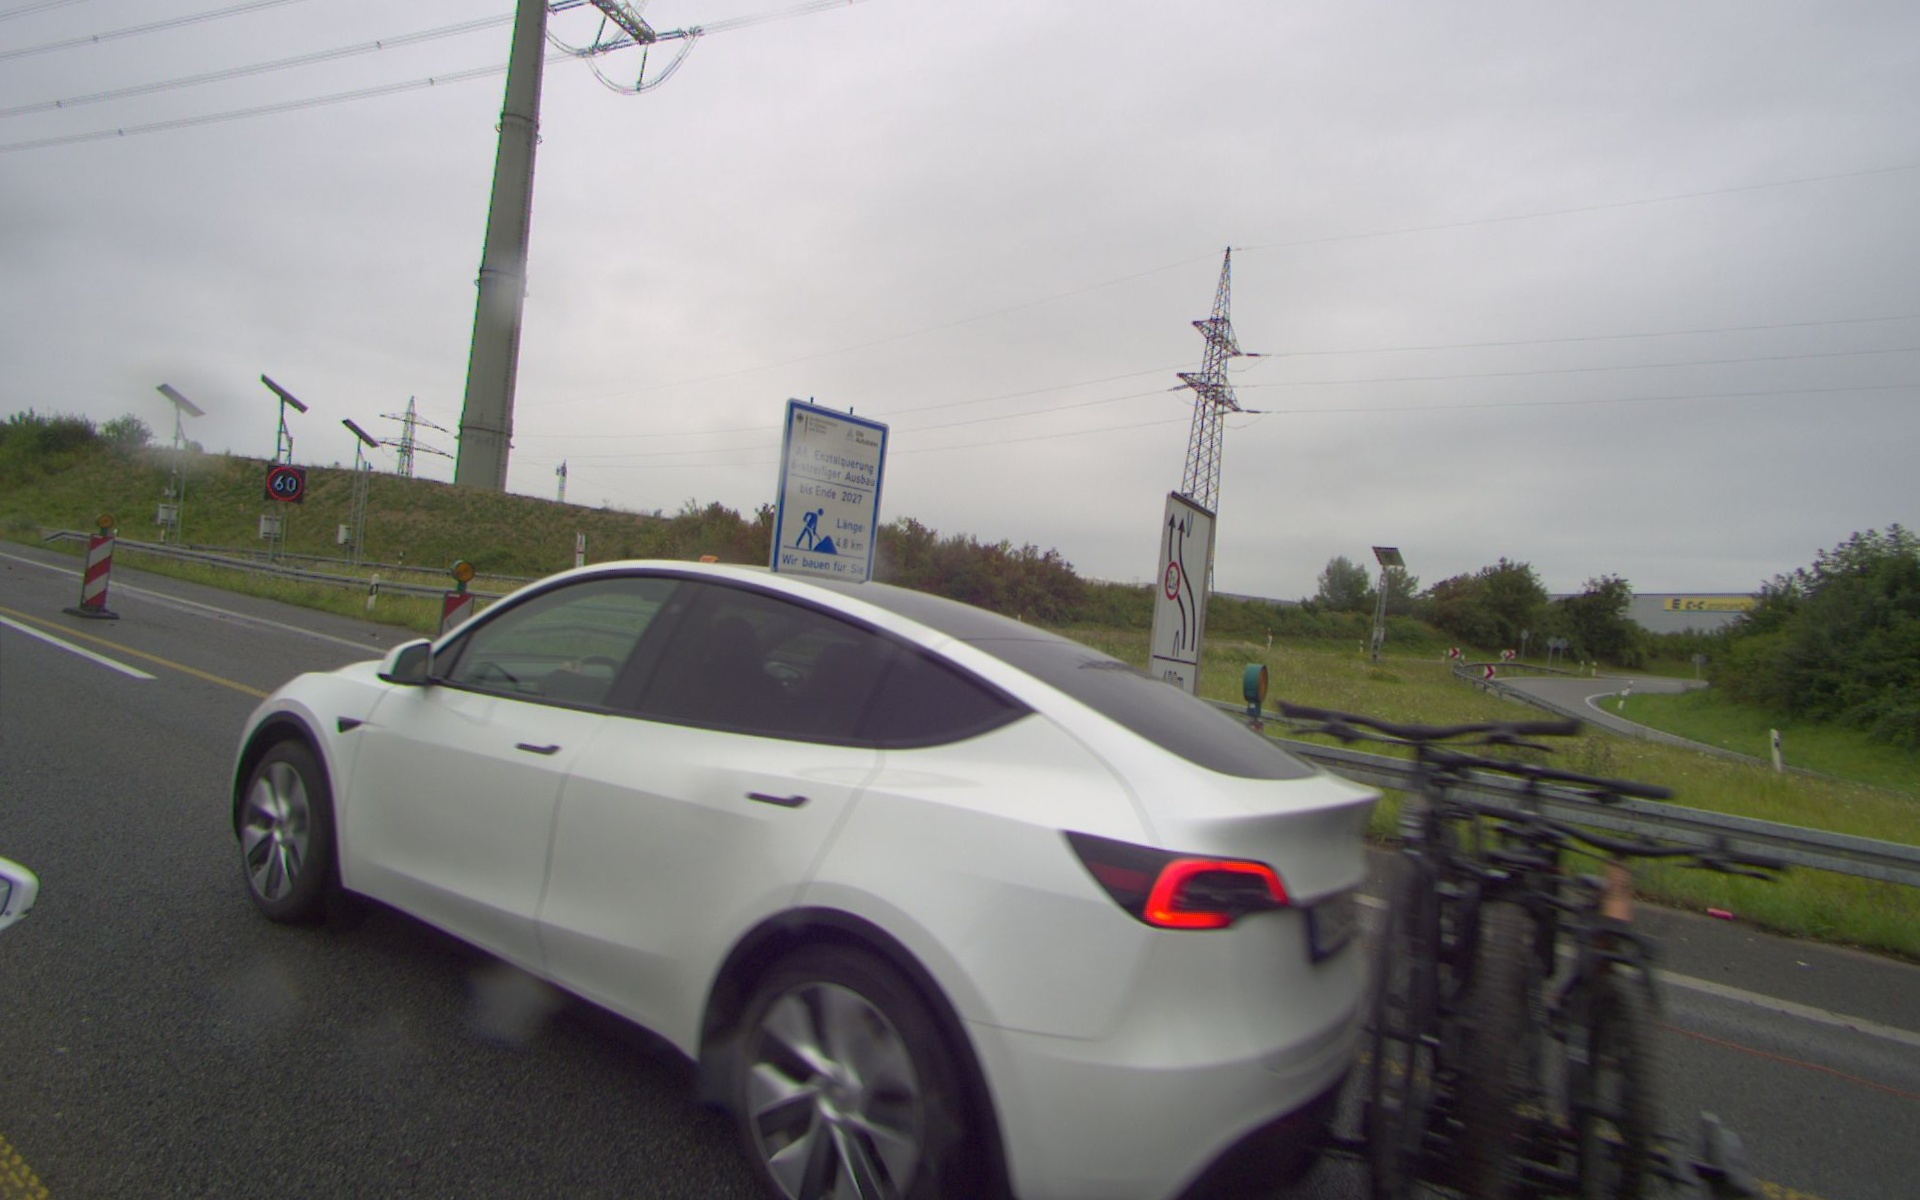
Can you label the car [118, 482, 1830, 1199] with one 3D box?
[{"bbox_3d":[-0.727,0.642,3.822,5.706,1.614,2.049,6,-2,32],"label":"car"}]
